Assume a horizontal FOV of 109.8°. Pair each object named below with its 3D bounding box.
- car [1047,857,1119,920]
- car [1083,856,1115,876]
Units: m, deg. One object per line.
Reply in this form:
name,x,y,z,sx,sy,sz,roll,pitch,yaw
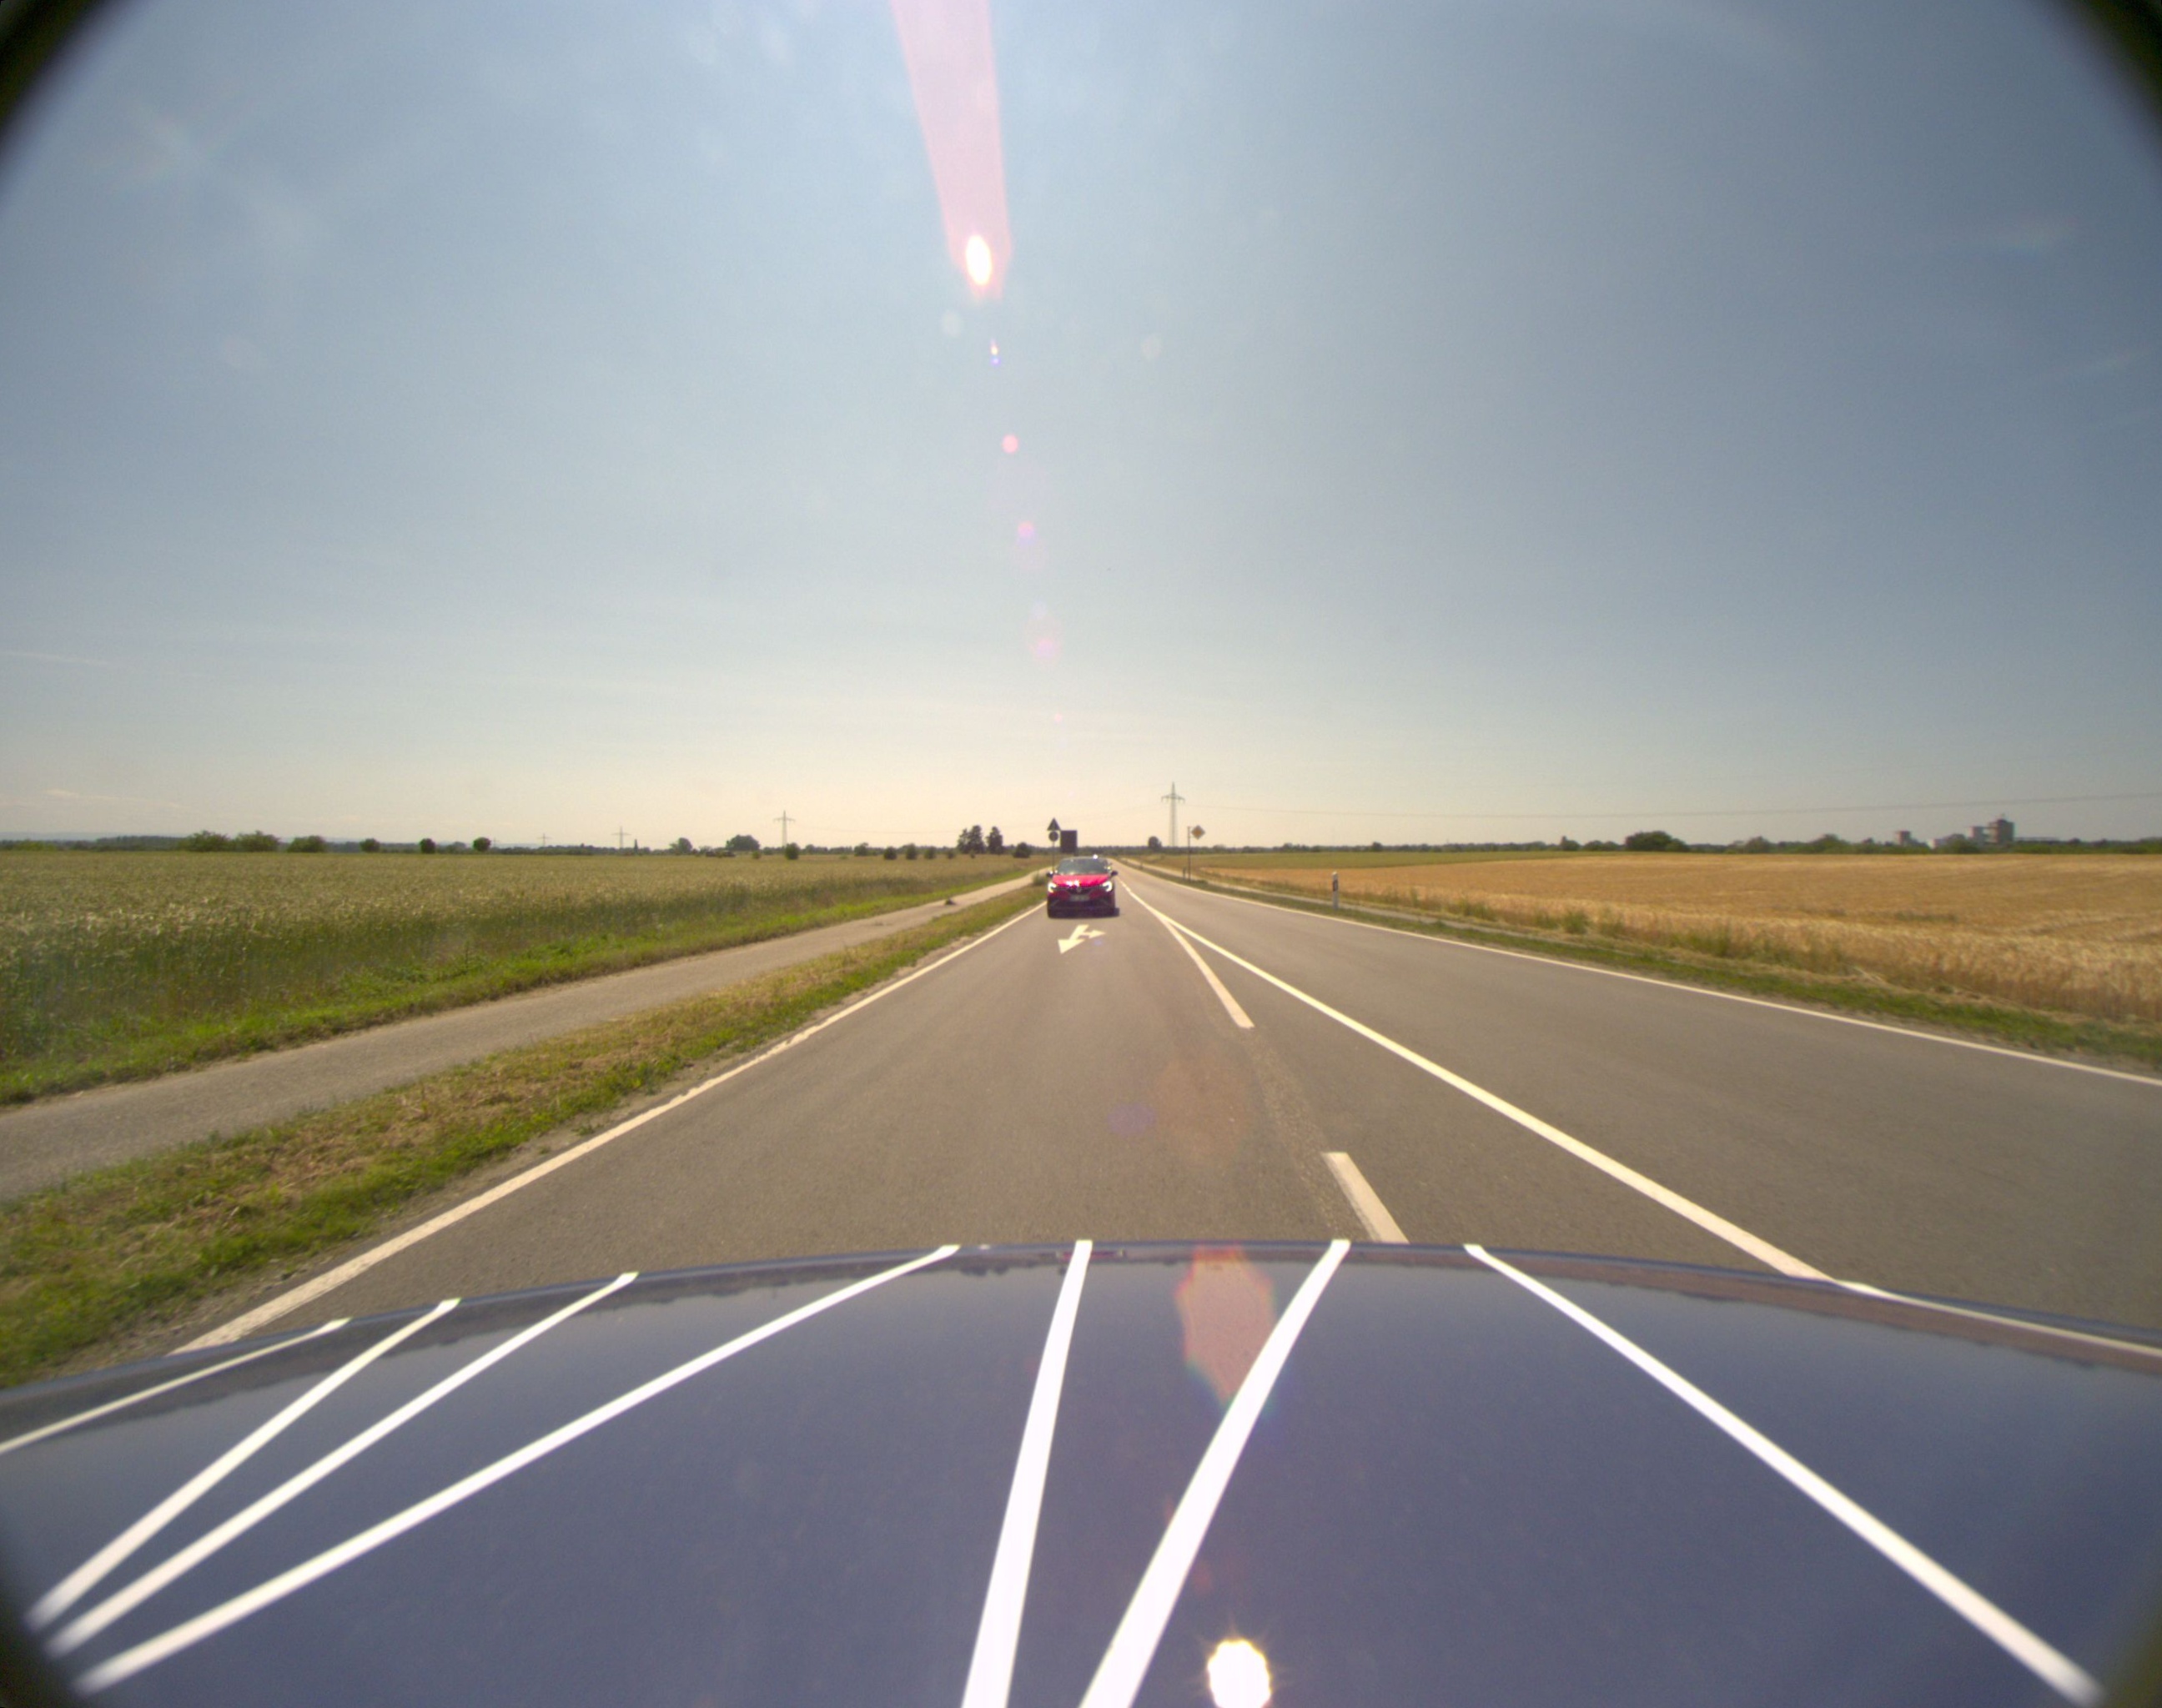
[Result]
car,0.096,0.906,21.851,1.826,1.543,4.449,-2,0,1
car,1.444,0.888,59.147,2.189,1.458,5.015,-1,0,4
